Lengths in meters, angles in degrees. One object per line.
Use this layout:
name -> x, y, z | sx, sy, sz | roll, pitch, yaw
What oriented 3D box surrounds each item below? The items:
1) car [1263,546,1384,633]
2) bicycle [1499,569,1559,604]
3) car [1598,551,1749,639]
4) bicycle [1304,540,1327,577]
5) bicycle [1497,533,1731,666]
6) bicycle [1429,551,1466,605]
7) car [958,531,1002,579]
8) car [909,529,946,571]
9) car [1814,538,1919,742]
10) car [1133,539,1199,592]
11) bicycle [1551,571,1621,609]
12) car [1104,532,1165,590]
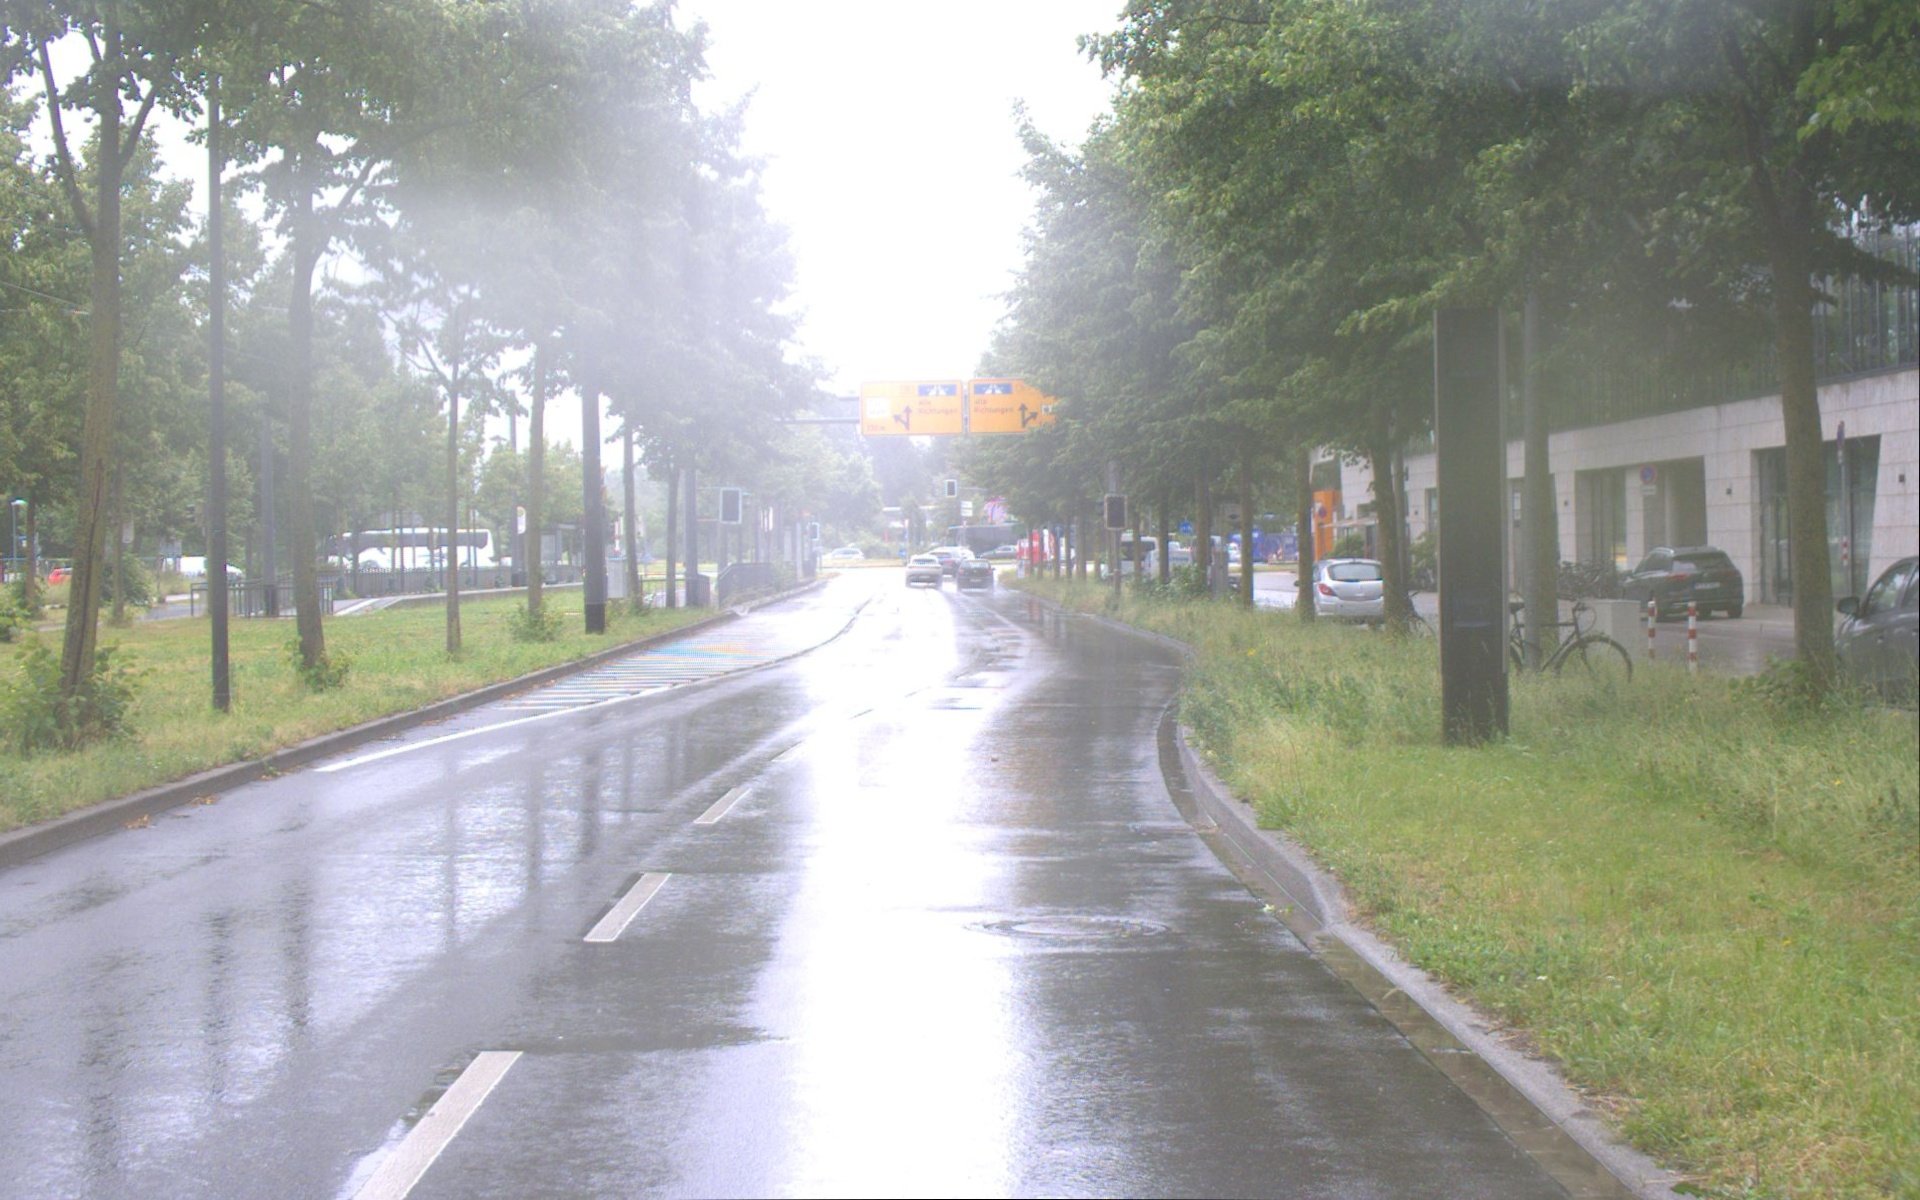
car -> 7.235, -0.238, 68.831 | 1.881, 1.500, 4.724 | 0, 3, -1
bicycle -> 16.625, -0.398, 100.410 | 1.694, 1.025, 0.423 | 0, 0, 2
car -> 14.477, -0.127, 70.019 | 1.994, 1.496, 5.034 | -5, 2, 1
bicycle -> 15.603, -1.815, 150.923 | 0.666, 1.529, 2.765 | 0, 3, -1
bicycle -> 5.955, -0.004, 31.335 | 2.035, 1.192, 0.491 | 0, 0, -1
bicycle -> 16.719, -0.759, 117.961 | 0.772, 1.716, 3.121 | 0, 3, -1
car -> 0.882, -2.030, 154.129 | 1.940, 2.006, 4.001 | 0, 3, 0
car -> -1.659, -2.557, 175.737 | 1.888, 2.006, 4.001 | 0, 3, 0
car -> 8.284, 0.289, 28.189 | 1.625, 1.485, 3.656 | 0, 3, 0
car -> 7.039, -1.190, 117.911 | 1.906, 1.785, 4.688 | 0, 1, -1
bicycle -> 17.060, -0.280, 93.697 | 1.807, 1.025, 0.401 | 0, 0, 2
car -> 6.908, -1.546, 136.387 | 2.121, 2.266, 4.565 | 0, 1, -1
